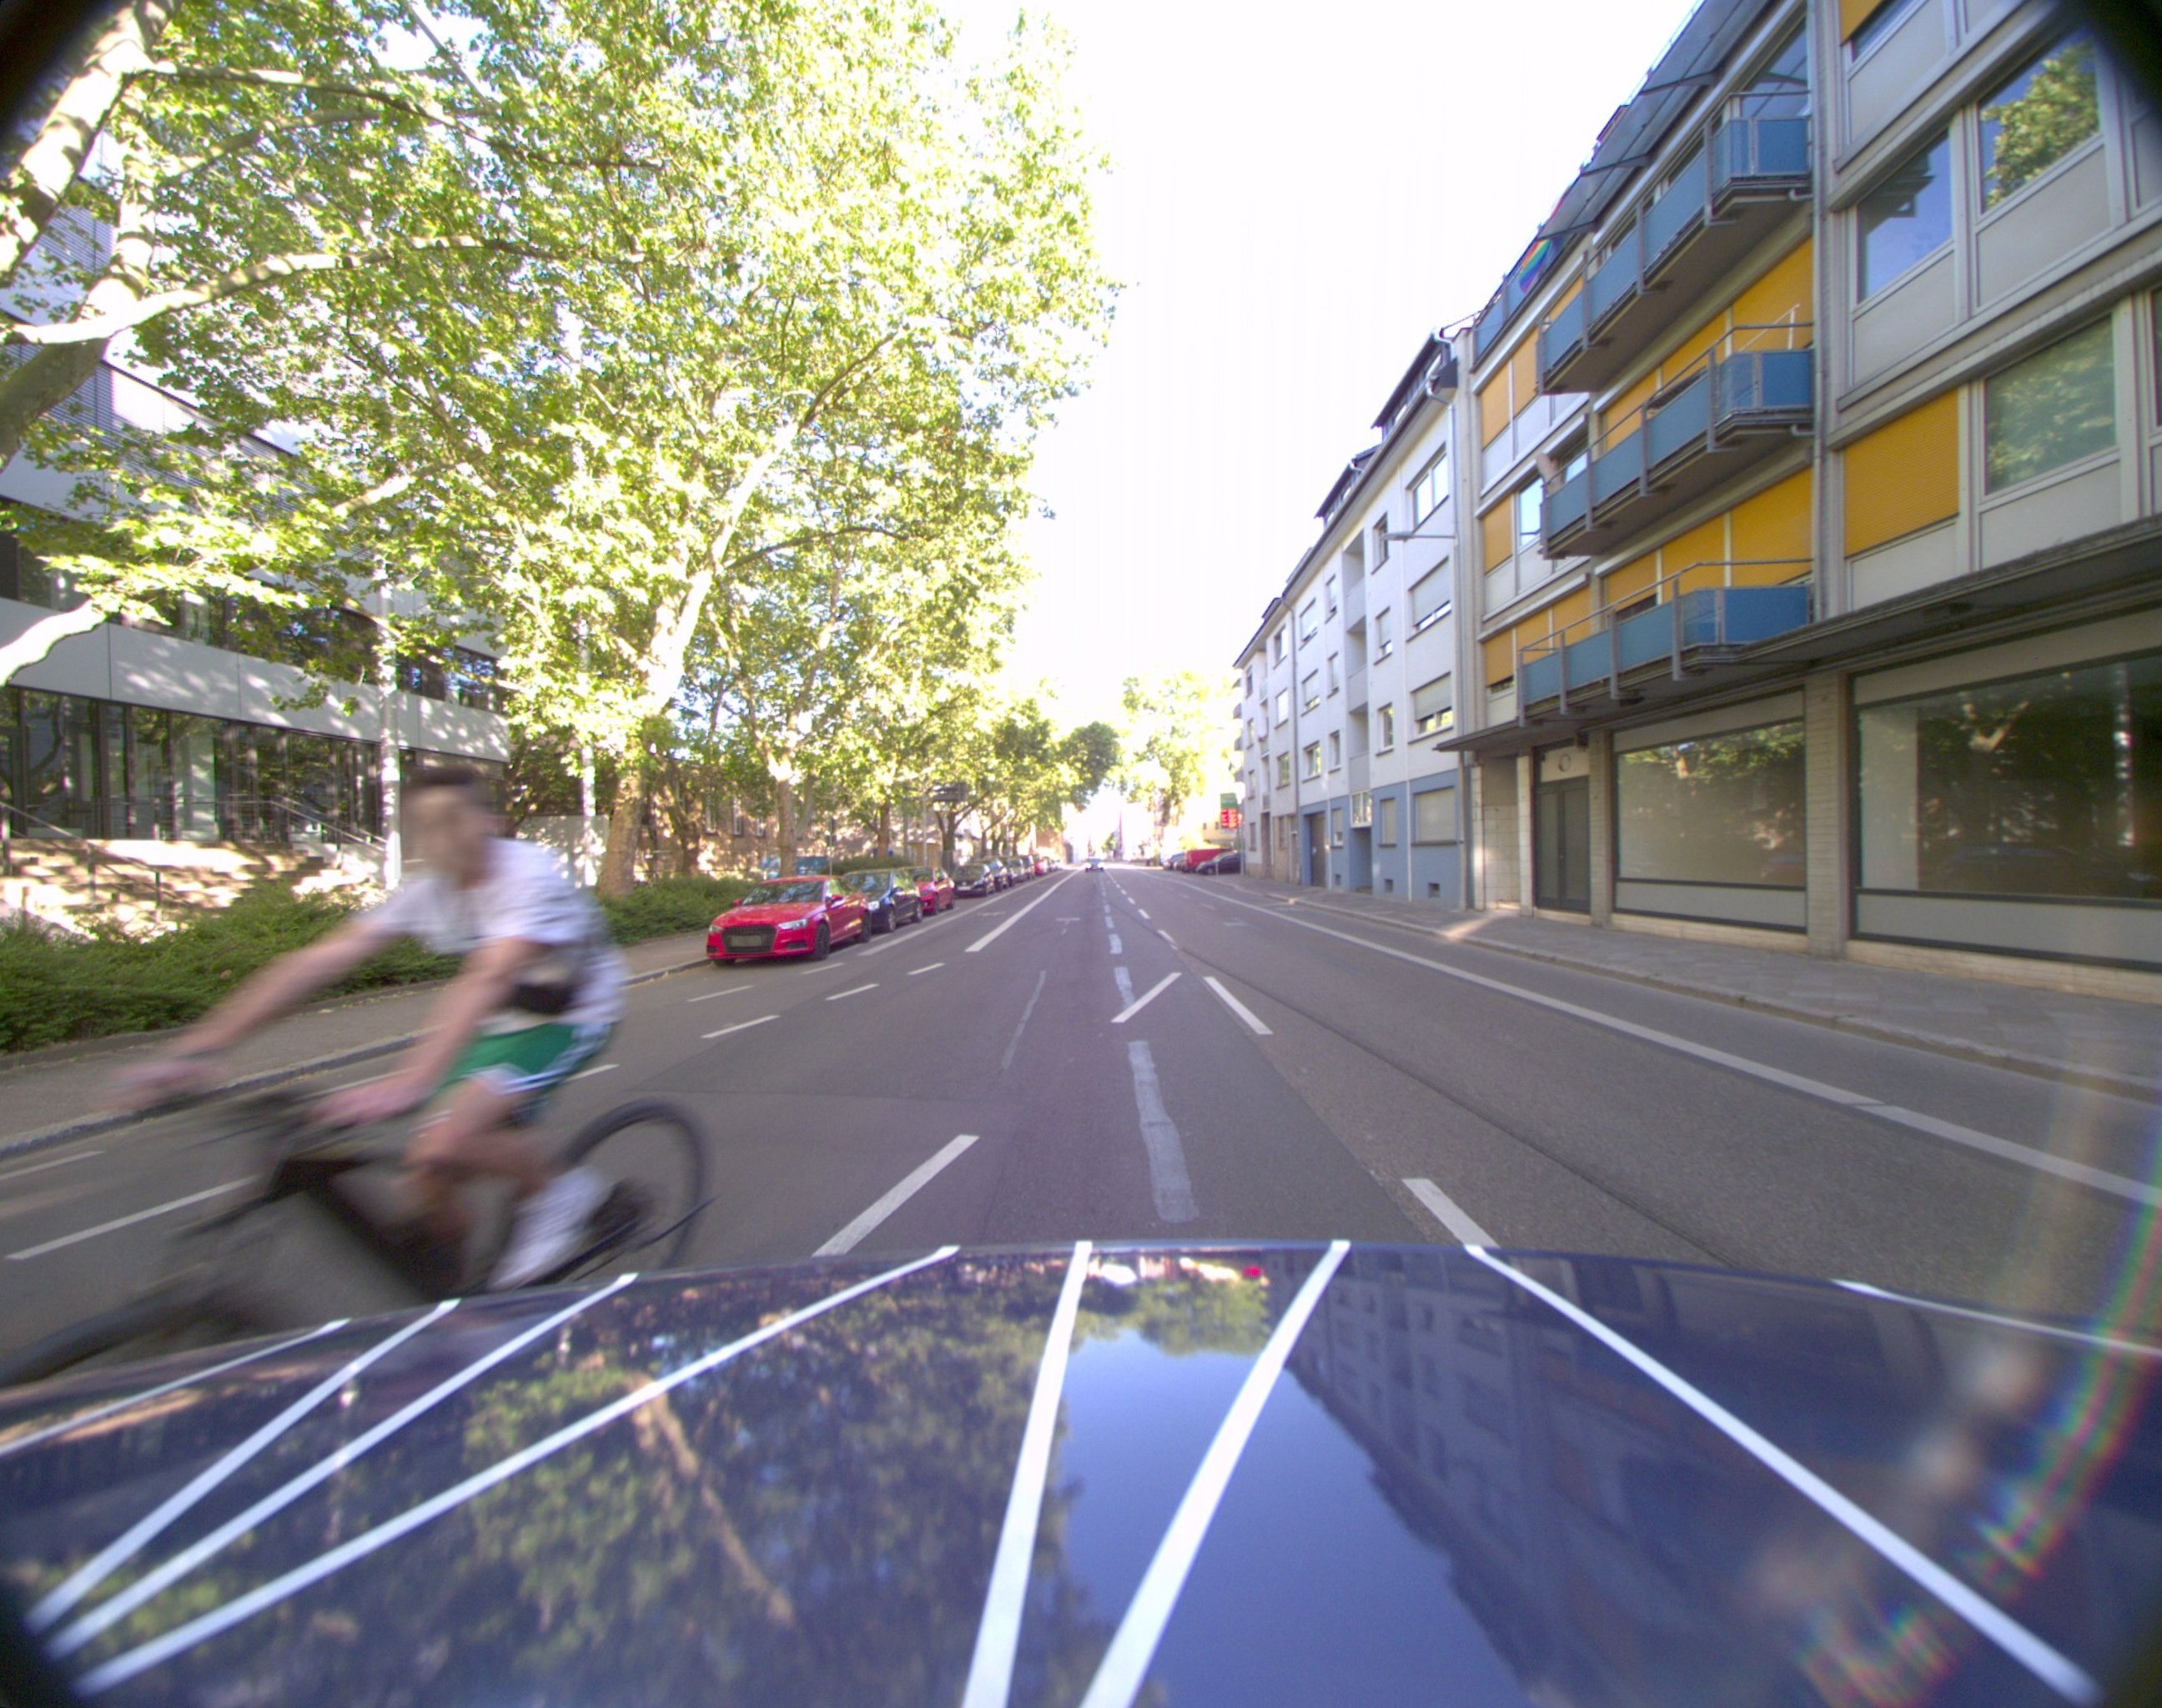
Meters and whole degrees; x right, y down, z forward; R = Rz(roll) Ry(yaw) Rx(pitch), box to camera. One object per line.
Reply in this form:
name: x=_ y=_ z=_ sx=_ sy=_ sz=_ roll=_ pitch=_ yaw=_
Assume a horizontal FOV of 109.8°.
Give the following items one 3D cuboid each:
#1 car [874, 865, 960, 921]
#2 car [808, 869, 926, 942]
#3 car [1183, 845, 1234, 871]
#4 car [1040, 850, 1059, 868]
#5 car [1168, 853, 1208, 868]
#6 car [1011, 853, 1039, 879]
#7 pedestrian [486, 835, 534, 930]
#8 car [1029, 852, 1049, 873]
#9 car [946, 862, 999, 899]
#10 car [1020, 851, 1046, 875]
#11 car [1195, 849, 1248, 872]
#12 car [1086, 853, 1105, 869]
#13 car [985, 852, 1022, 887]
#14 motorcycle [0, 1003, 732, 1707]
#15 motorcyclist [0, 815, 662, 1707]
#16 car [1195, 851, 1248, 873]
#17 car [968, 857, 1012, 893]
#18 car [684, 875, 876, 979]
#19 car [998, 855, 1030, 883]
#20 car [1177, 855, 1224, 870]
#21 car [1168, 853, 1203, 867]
car: x=-5.008 y=1.131 z=23.687 sx=1.692 sy=1.441 sz=3.923 roll=-2 pitch=1 yaw=1
car: x=-5.045 y=1.160 z=18.413 sx=1.669 sy=1.410 sz=3.697 roll=-2 pitch=1 yaw=1
car: x=10.066 y=0.313 z=59.945 sx=3.688 sy=1.897 sz=1.490 roll=-2 pitch=-1 yaw=-1
car: x=-3.797 y=0.580 z=92.667 sx=1.998 sy=2.002 sz=4.000 roll=-2 pitch=0 yaw=1
car: x=10.273 y=0.619 z=73.031 sx=3.687 sy=1.238 sz=1.345 roll=-2 pitch=1 yaw=2
car: x=-4.032 y=0.812 z=55.241 sx=1.634 sy=1.725 sz=3.769 roll=-2 pitch=1 yaw=0
pedestrian: x=-12.412 y=0.613 z=16.520 sx=0.552 sy=2.002 sz=0.562 roll=-2 pitch=1 yaw=-11
car: x=-3.898 y=0.804 z=71.005 sx=1.599 sy=1.835 sz=3.769 roll=-2 pitch=1 yaw=0
car: x=-4.688 y=1.109 z=33.239 sx=1.692 sy=1.414 sz=3.923 roll=-2 pitch=1 yaw=0
car: x=-4.165 y=0.720 z=66.094 sx=1.915 sy=1.940 sz=3.769 roll=-2 pitch=1 yaw=0
car: x=10.539 y=0.477 z=57.100 sx=3.687 sy=1.503 sz=1.490 roll=-2 pitch=1 yaw=2
car: x=1.459 y=0.663 z=76.426 sx=1.752 sy=1.423 sz=4.265 roll=-2 pitch=0 yaw=1
car: x=-4.450 y=0.851 z=44.242 sx=1.634 sy=1.781 sz=4.576 roll=-2 pitch=1 yaw=0
motorcycle: x=-1.748 y=1.149 z=1.816 sx=0.865 sy=1.161 sz=1.929 roll=-2 pitch=1 yaw=1
motorcyclist: x=-1.742 y=0.827 z=1.862 sx=0.833 sy=1.778 sz=0.913 roll=-2 pitch=1 yaw=1
car: x=10.096 y=0.582 z=54.731 sx=3.508 sy=1.380 sz=1.490 roll=-2 pitch=1 yaw=2
car: x=-4.513 y=0.990 z=38.109 sx=1.634 sy=1.569 sz=4.231 roll=-2 pitch=1 yaw=0
car: x=-5.156 y=1.178 z=13.660 sx=1.794 sy=1.384 sz=3.999 roll=-2 pitch=1 yaw=0
car: x=-4.348 y=0.937 z=50.114 sx=1.634 sy=1.604 sz=4.576 roll=-2 pitch=1 yaw=0
car: x=9.817 y=0.686 z=62.590 sx=3.687 sy=1.122 sz=1.345 roll=-2 pitch=1 yaw=2
car: x=10.328 y=0.574 z=75.469 sx=3.271 sy=1.238 sz=1.345 roll=-2 pitch=1 yaw=2
